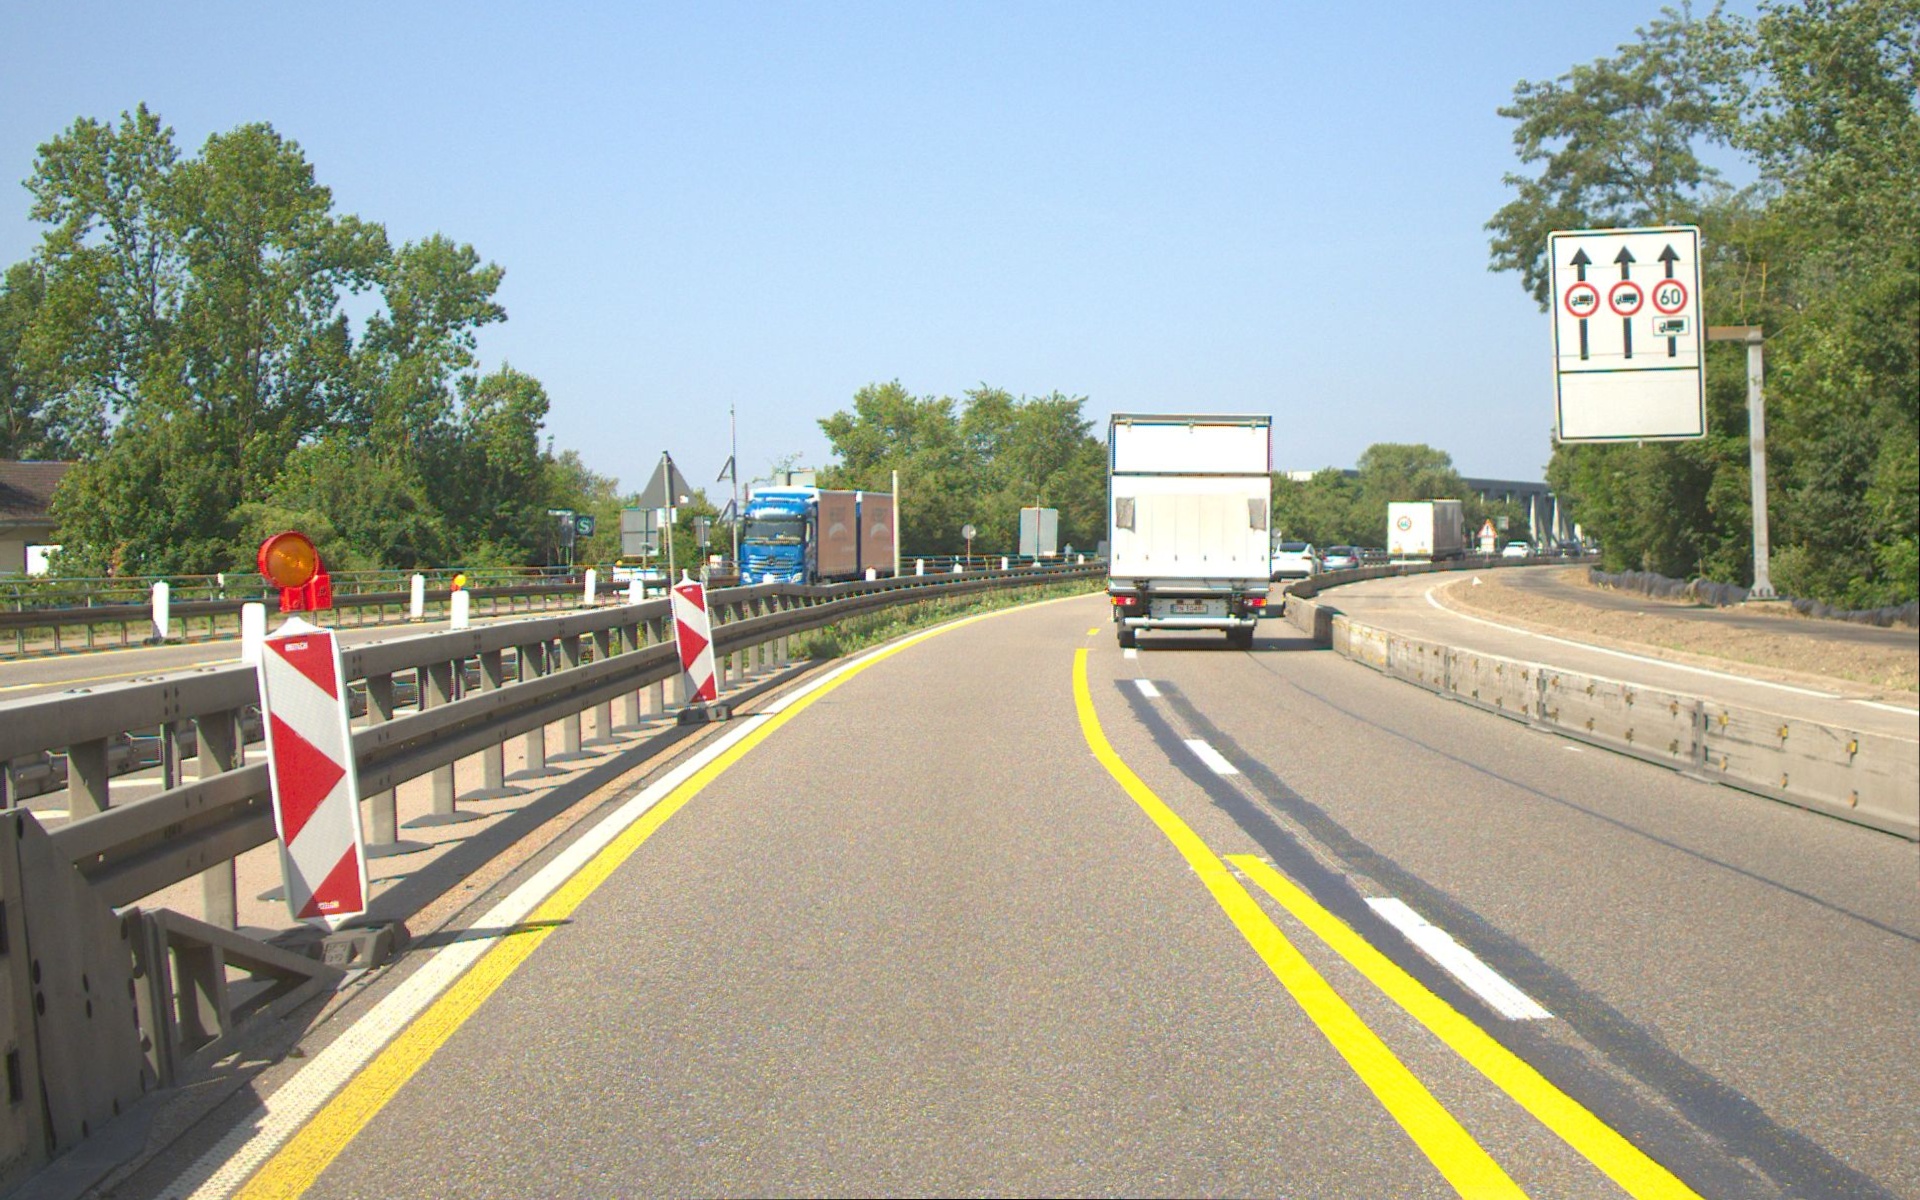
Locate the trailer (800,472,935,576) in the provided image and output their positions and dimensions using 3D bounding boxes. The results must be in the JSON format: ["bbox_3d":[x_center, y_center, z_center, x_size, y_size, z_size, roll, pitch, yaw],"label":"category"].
[{"bbox_3d":[-3.680,-3.097,140.009,3.039,4.077,9.782,1,1,13],"label":"trailer"}]

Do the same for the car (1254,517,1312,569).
[{"bbox_3d":[13.180,-2.322,140.064,1.994,2.007,3.999,-2,1,9],"label":"car"}]

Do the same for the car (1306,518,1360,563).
[{"bbox_3d":[17.776,-2.838,163.798,1.995,2.007,3.998,-2,1,14],"label":"car"}]

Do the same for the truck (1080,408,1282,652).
[{"bbox_3d":[3.261,-1.064,52.361,2.634,3.416,7.233,1,1,1],"label":"truck"}]

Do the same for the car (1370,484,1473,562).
[{"bbox_3d":[26.885,-4.513,199.705,4.210,4.237,10.654,-2,1,16],"label":"car"}]

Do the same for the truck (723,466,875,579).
[{"bbox_3d":[-5.983,-2.917,130.029,3.039,4.077,10.618,1,1,13],"label":"truck"}]
